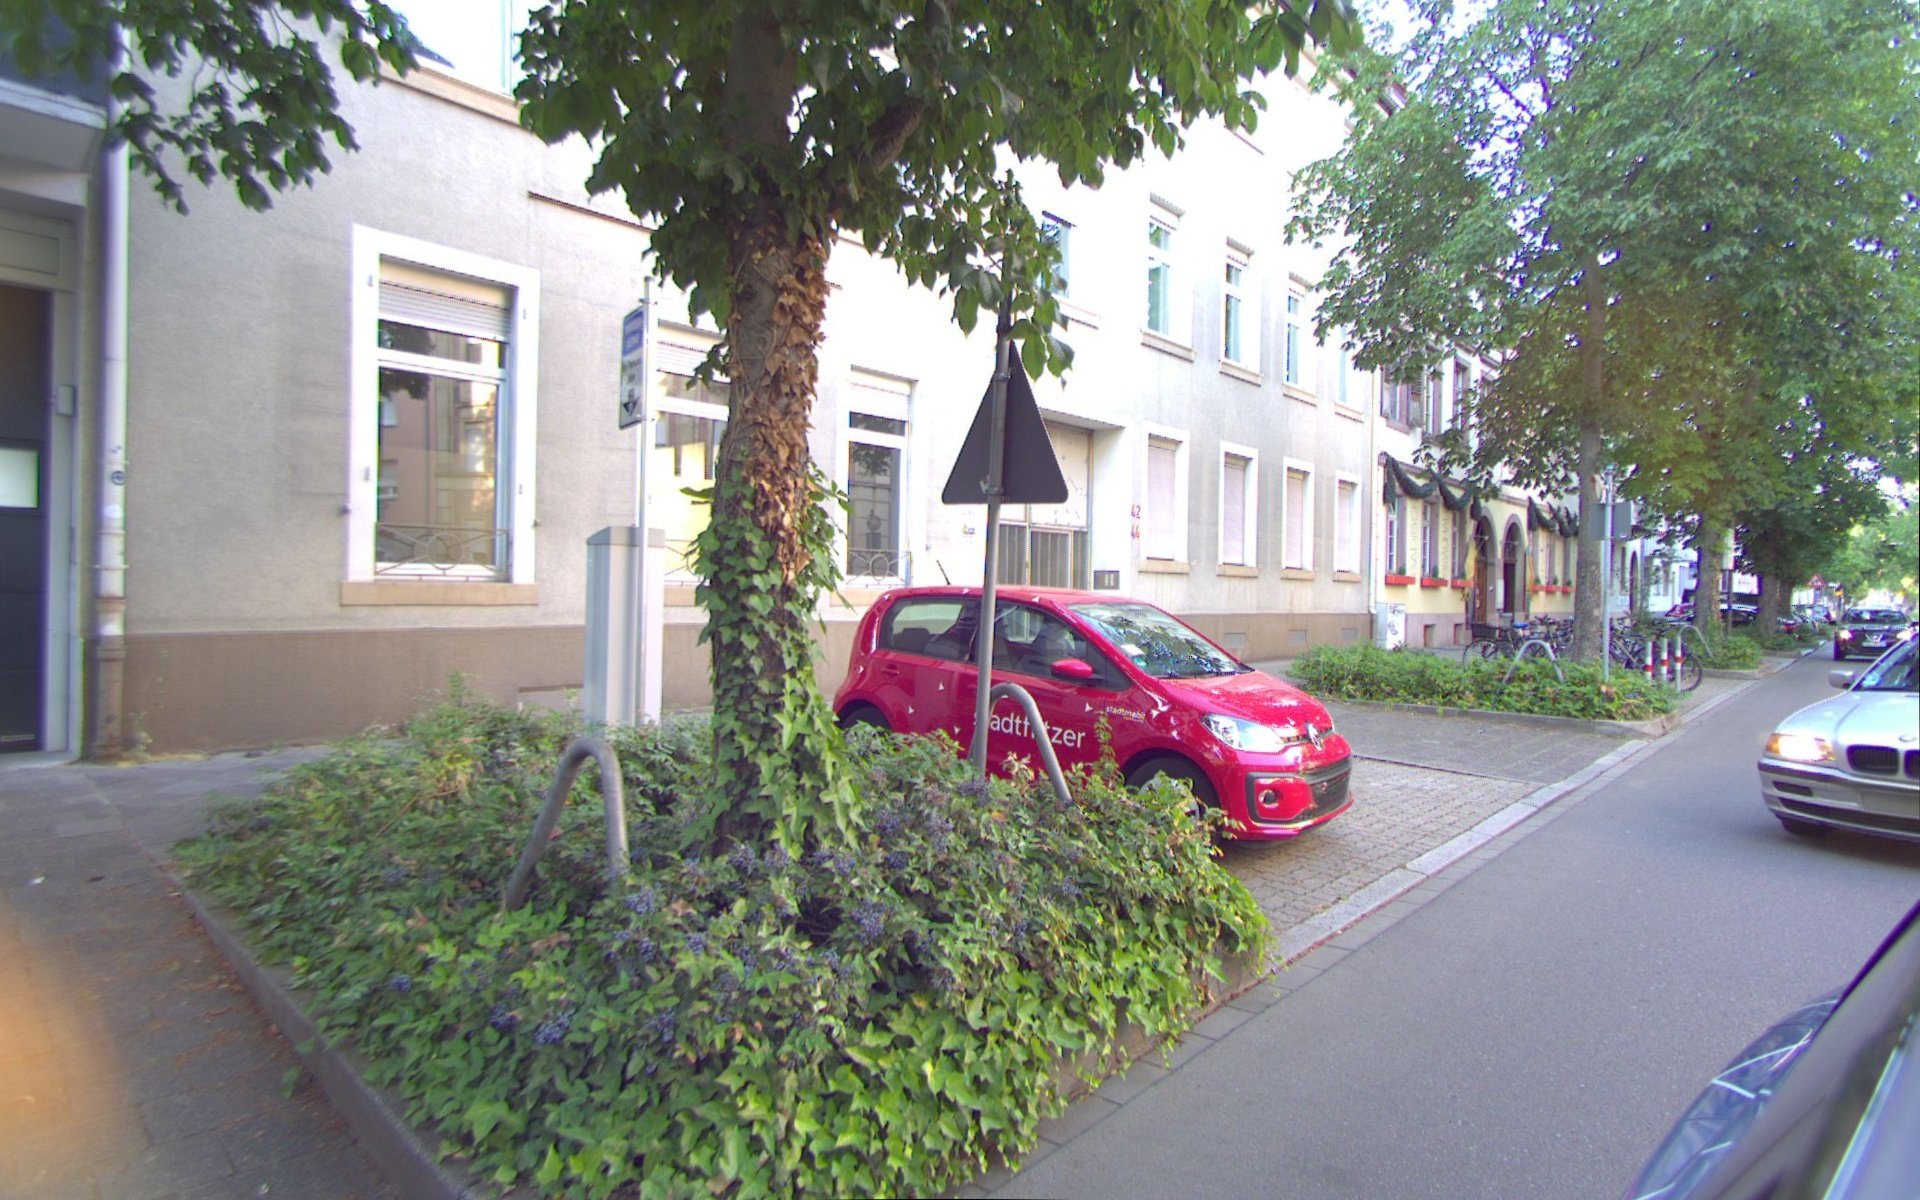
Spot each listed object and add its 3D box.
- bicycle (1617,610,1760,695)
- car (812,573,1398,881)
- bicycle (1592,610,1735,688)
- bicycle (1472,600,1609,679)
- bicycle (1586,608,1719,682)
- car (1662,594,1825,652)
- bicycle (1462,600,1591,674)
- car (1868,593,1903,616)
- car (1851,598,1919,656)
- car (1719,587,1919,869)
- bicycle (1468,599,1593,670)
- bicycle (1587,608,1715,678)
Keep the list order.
[{"bbox_3d":[11.848,0.828,16.533,1.835,1.242,0.529,2,1,33],"label":"bicycle"},{"bbox_3d":[0.800,0.587,6.811,3.608,1.495,1.639,2,1,42],"label":"car"},{"bbox_3d":[12.351,0.830,17.819,2.019,1.242,0.528,2,1,39],"label":"bicycle"},{"bbox_3d":[10.080,0.656,17.622,2.014,1.242,0.529,2,1,33],"label":"bicycle"},{"bbox_3d":[12.986,0.815,19.013,2.019,1.242,0.528,2,1,39],"label":"bicycle"},{"bbox_3d":[26.610,0.725,34.452,4.232,1.761,1.715,2,1,43],"label":"car"},{"bbox_3d":[10.296,0.647,18.432,2.014,1.242,0.529,2,1,33],"label":"bicycle"},{"bbox_3d":[67.404,0.319,73.683,1.801,1.571,3.937,2,1,43],"label":"car"},{"bbox_3d":[27.418,0.751,29.614,1.802,1.571,3.935,2,1,45],"label":"car"},{"bbox_3d":[6.891,0.681,6.378,4.346,1.460,1.715,0,1,-29],"label":"car"},{"bbox_3d":[10.927,0.634,19.426,2.017,1.242,0.529,2,1,37],"label":"bicycle"},{"bbox_3d":[13.467,0.805,19.766,2.019,1.242,0.528,2,1,39],"label":"bicycle"}]
